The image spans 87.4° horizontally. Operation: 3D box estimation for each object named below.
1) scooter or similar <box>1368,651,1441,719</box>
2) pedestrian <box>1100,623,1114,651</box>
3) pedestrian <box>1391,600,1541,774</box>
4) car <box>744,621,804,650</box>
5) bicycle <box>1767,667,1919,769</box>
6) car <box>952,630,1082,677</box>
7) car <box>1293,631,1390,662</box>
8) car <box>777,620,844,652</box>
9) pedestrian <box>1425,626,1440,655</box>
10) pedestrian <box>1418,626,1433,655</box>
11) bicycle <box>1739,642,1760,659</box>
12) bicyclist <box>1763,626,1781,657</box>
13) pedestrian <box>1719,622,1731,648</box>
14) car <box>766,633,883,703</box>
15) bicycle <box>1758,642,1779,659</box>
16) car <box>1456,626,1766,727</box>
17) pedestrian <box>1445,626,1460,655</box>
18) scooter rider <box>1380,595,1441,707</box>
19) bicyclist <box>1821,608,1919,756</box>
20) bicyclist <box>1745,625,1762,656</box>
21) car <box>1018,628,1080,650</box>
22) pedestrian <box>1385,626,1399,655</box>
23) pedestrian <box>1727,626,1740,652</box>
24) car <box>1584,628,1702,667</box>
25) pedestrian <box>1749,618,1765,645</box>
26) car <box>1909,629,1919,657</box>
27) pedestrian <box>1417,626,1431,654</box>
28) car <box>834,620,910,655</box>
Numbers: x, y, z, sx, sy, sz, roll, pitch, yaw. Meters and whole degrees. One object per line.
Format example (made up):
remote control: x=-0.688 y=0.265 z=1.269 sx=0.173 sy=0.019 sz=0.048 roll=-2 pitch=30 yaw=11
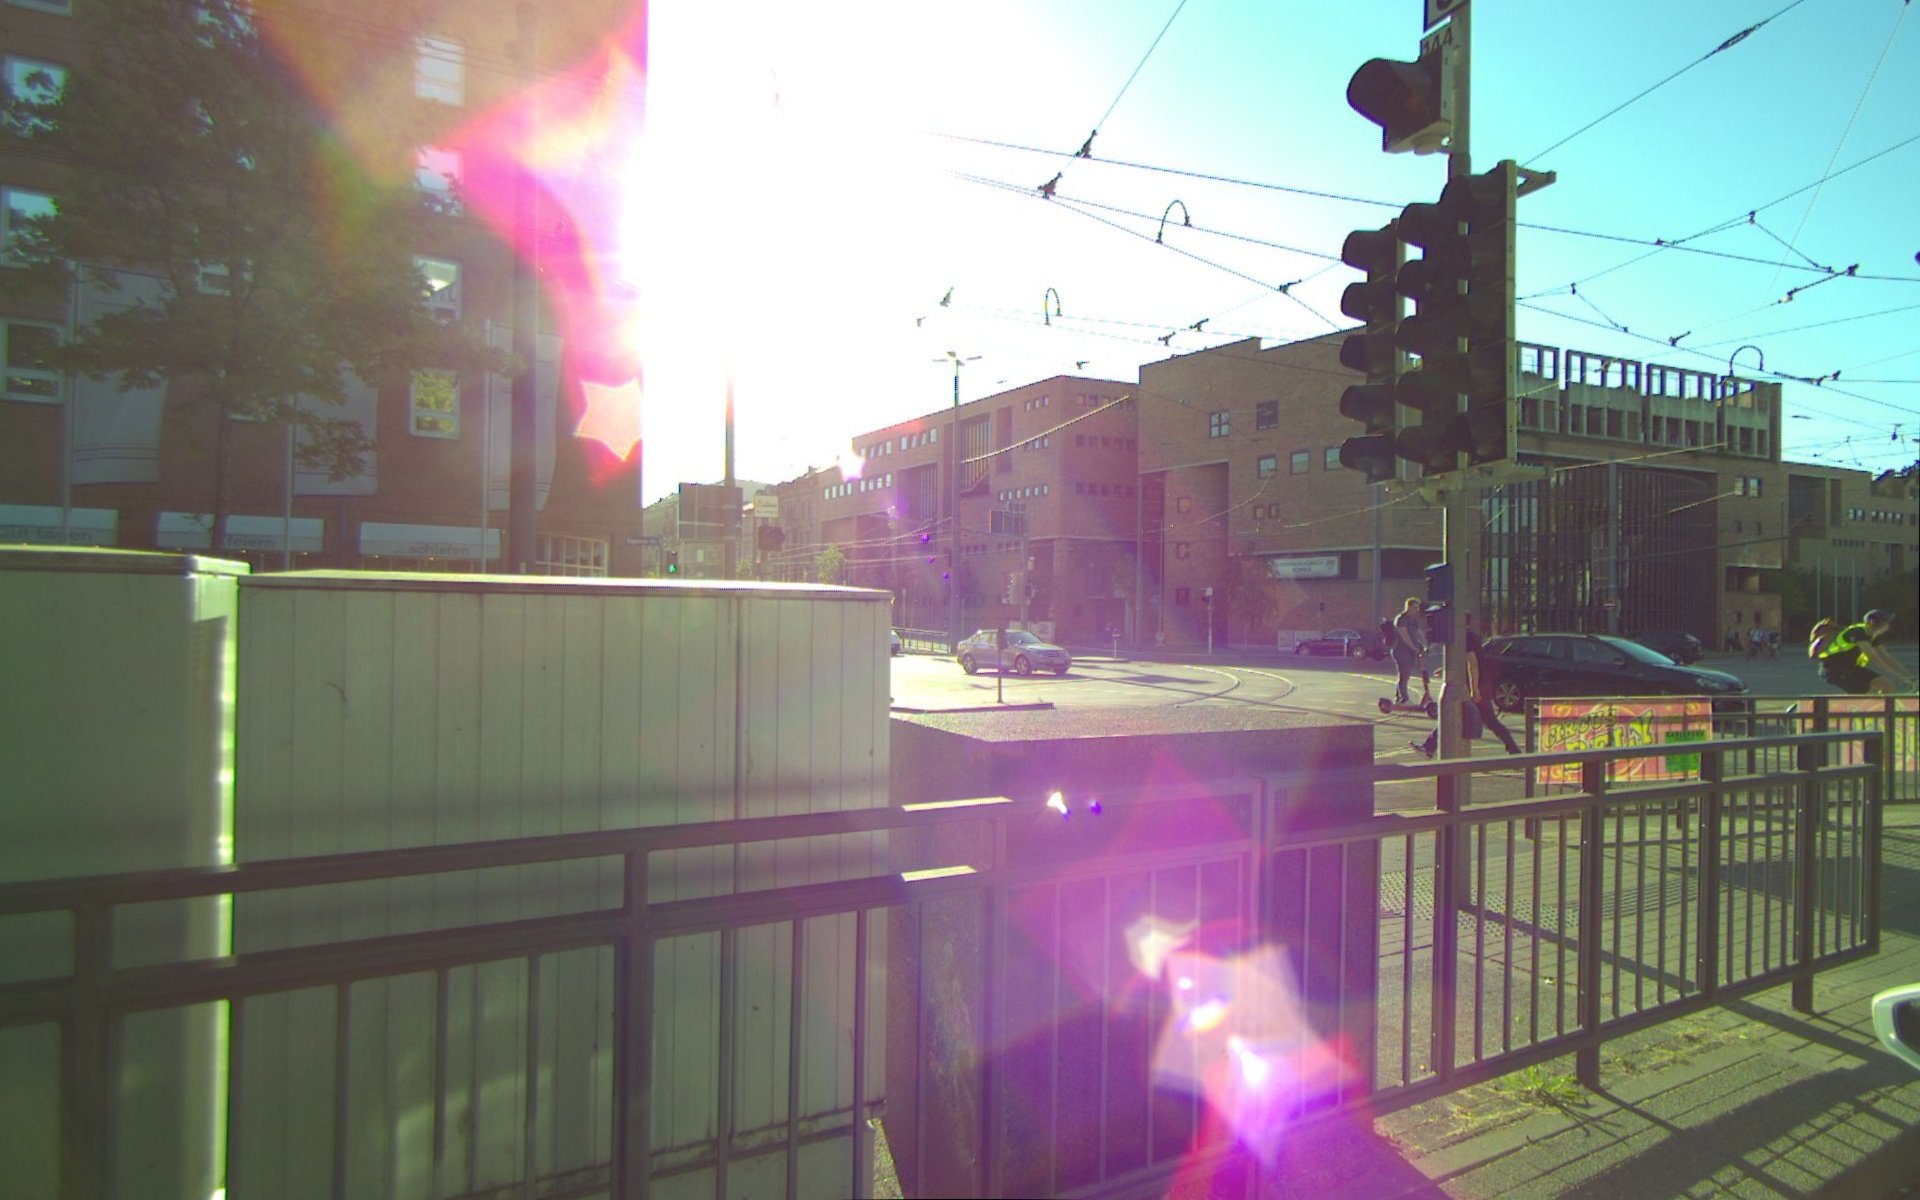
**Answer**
scooter or similar: x=7.810 y=1.479 z=17.696 sx=0.397 sy=1.119 sz=1.202 roll=1 pitch=-1 yaw=-26
pedestrian: x=8.614 y=2.170 z=58.997 sx=0.608 sy=1.635 sz=0.540 roll=-1 pitch=2 yaw=-35
pedestrian: x=5.748 y=0.939 z=11.436 sx=1.032 sy=1.846 sz=1.200 roll=2 pitch=-1 yaw=-36
car: x=-11.447 y=2.183 z=61.717 sx=1.981 sy=1.719 sz=4.316 roll=1 pitch=-2 yaw=-36
bicycle: x=10.978 y=1.397 z=12.065 sx=0.621 sy=1.078 sz=1.916 roll=1 pitch=-1 yaw=-27
car: x=1.786 y=1.683 z=32.814 sx=1.980 sy=1.398 sz=4.351 roll=1 pitch=-2 yaw=-35
car: x=18.773 y=2.274 z=49.585 sx=1.780 sy=1.453 sz=4.207 roll=2 pitch=-2 yaw=-39
car: x=-8.479 y=2.011 z=56.694 sx=1.981 sy=1.719 sz=4.316 roll=1 pitch=-2 yaw=-36
pedestrian: x=27.138 y=2.332 z=57.654 sx=0.534 sy=1.672 sz=0.618 roll=1 pitch=-2 yaw=-40
pedestrian: x=27.189 y=2.353 z=58.628 sx=0.533 sy=1.672 sz=0.619 roll=1 pitch=-1 yaw=-36
bicycle: x=44.342 y=2.829 z=56.424 sx=1.823 sy=0.893 sz=0.509 roll=2 pitch=-2 yaw=-38
bicyclist: x=45.099 y=2.281 z=55.813 sx=0.782 sy=1.697 sz=0.589 roll=1 pitch=-1 yaw=-36
pedestrian: x=54.001 y=2.499 z=70.929 sx=0.538 sy=1.834 sz=0.489 roll=1 pitch=-1 yaw=-23
car: x=-2.922 y=1.444 z=22.310 sx=1.606 sy=1.416 sz=3.309 roll=0 pitch=-2 yaw=10
bicycle: x=44.994 y=2.800 z=55.867 sx=1.823 sy=0.893 sz=0.509 roll=2 pitch=-2 yaw=-38
car: x=11.666 y=1.277 z=18.278 sx=1.981 sy=1.538 sz=4.353 roll=0 pitch=-1 yaw=-37
pedestrian: x=28.317 y=2.335 z=57.778 sx=0.533 sy=1.672 sz=0.619 roll=1 pitch=-1 yaw=-37
scooter rider: x=7.915 y=0.885 z=17.647 sx=0.727 sy=1.921 sz=0.661 roll=1 pitch=-2 yaw=-27
bicyclist: x=11.005 y=0.948 z=12.019 sx=0.631 sy=1.686 sz=0.901 roll=1 pitch=-1 yaw=-27
bicyclist: x=44.515 y=2.264 z=56.349 sx=0.782 sy=1.697 sz=0.589 roll=1 pitch=-1 yaw=-36
car: x=5.962 y=2.603 z=67.661 sx=1.780 sy=1.411 sz=4.207 roll=2 pitch=-2 yaw=-39
pedestrian: x=24.376 y=2.279 z=56.638 sx=0.560 sy=1.635 sz=0.545 roll=0 pitch=-1 yaw=1
pedestrian: x=55.291 y=2.764 z=71.805 sx=0.538 sy=1.834 sz=0.489 roll=1 pitch=-1 yaw=-23
car: x=28.640 y=1.950 z=42.181 sx=1.784 sy=1.527 sz=3.821 roll=2 pitch=-2 yaw=-45
pedestrian: x=54.910 y=2.147 z=69.205 sx=0.538 sy=1.834 sz=0.640 roll=1 pitch=-1 yaw=-23
car: x=54.710 y=2.385 z=55.935 sx=3.961 sy=1.528 sz=1.980 roll=1 pitch=-2 yaw=-36
pedestrian: x=27.514 y=2.366 z=59.572 sx=0.533 sy=1.672 sz=0.619 roll=1 pitch=-1 yaw=-36
car: x=-4.606 y=1.904 z=52.048 sx=1.981 sy=1.719 sz=4.316 roll=1 pitch=-2 yaw=-36
